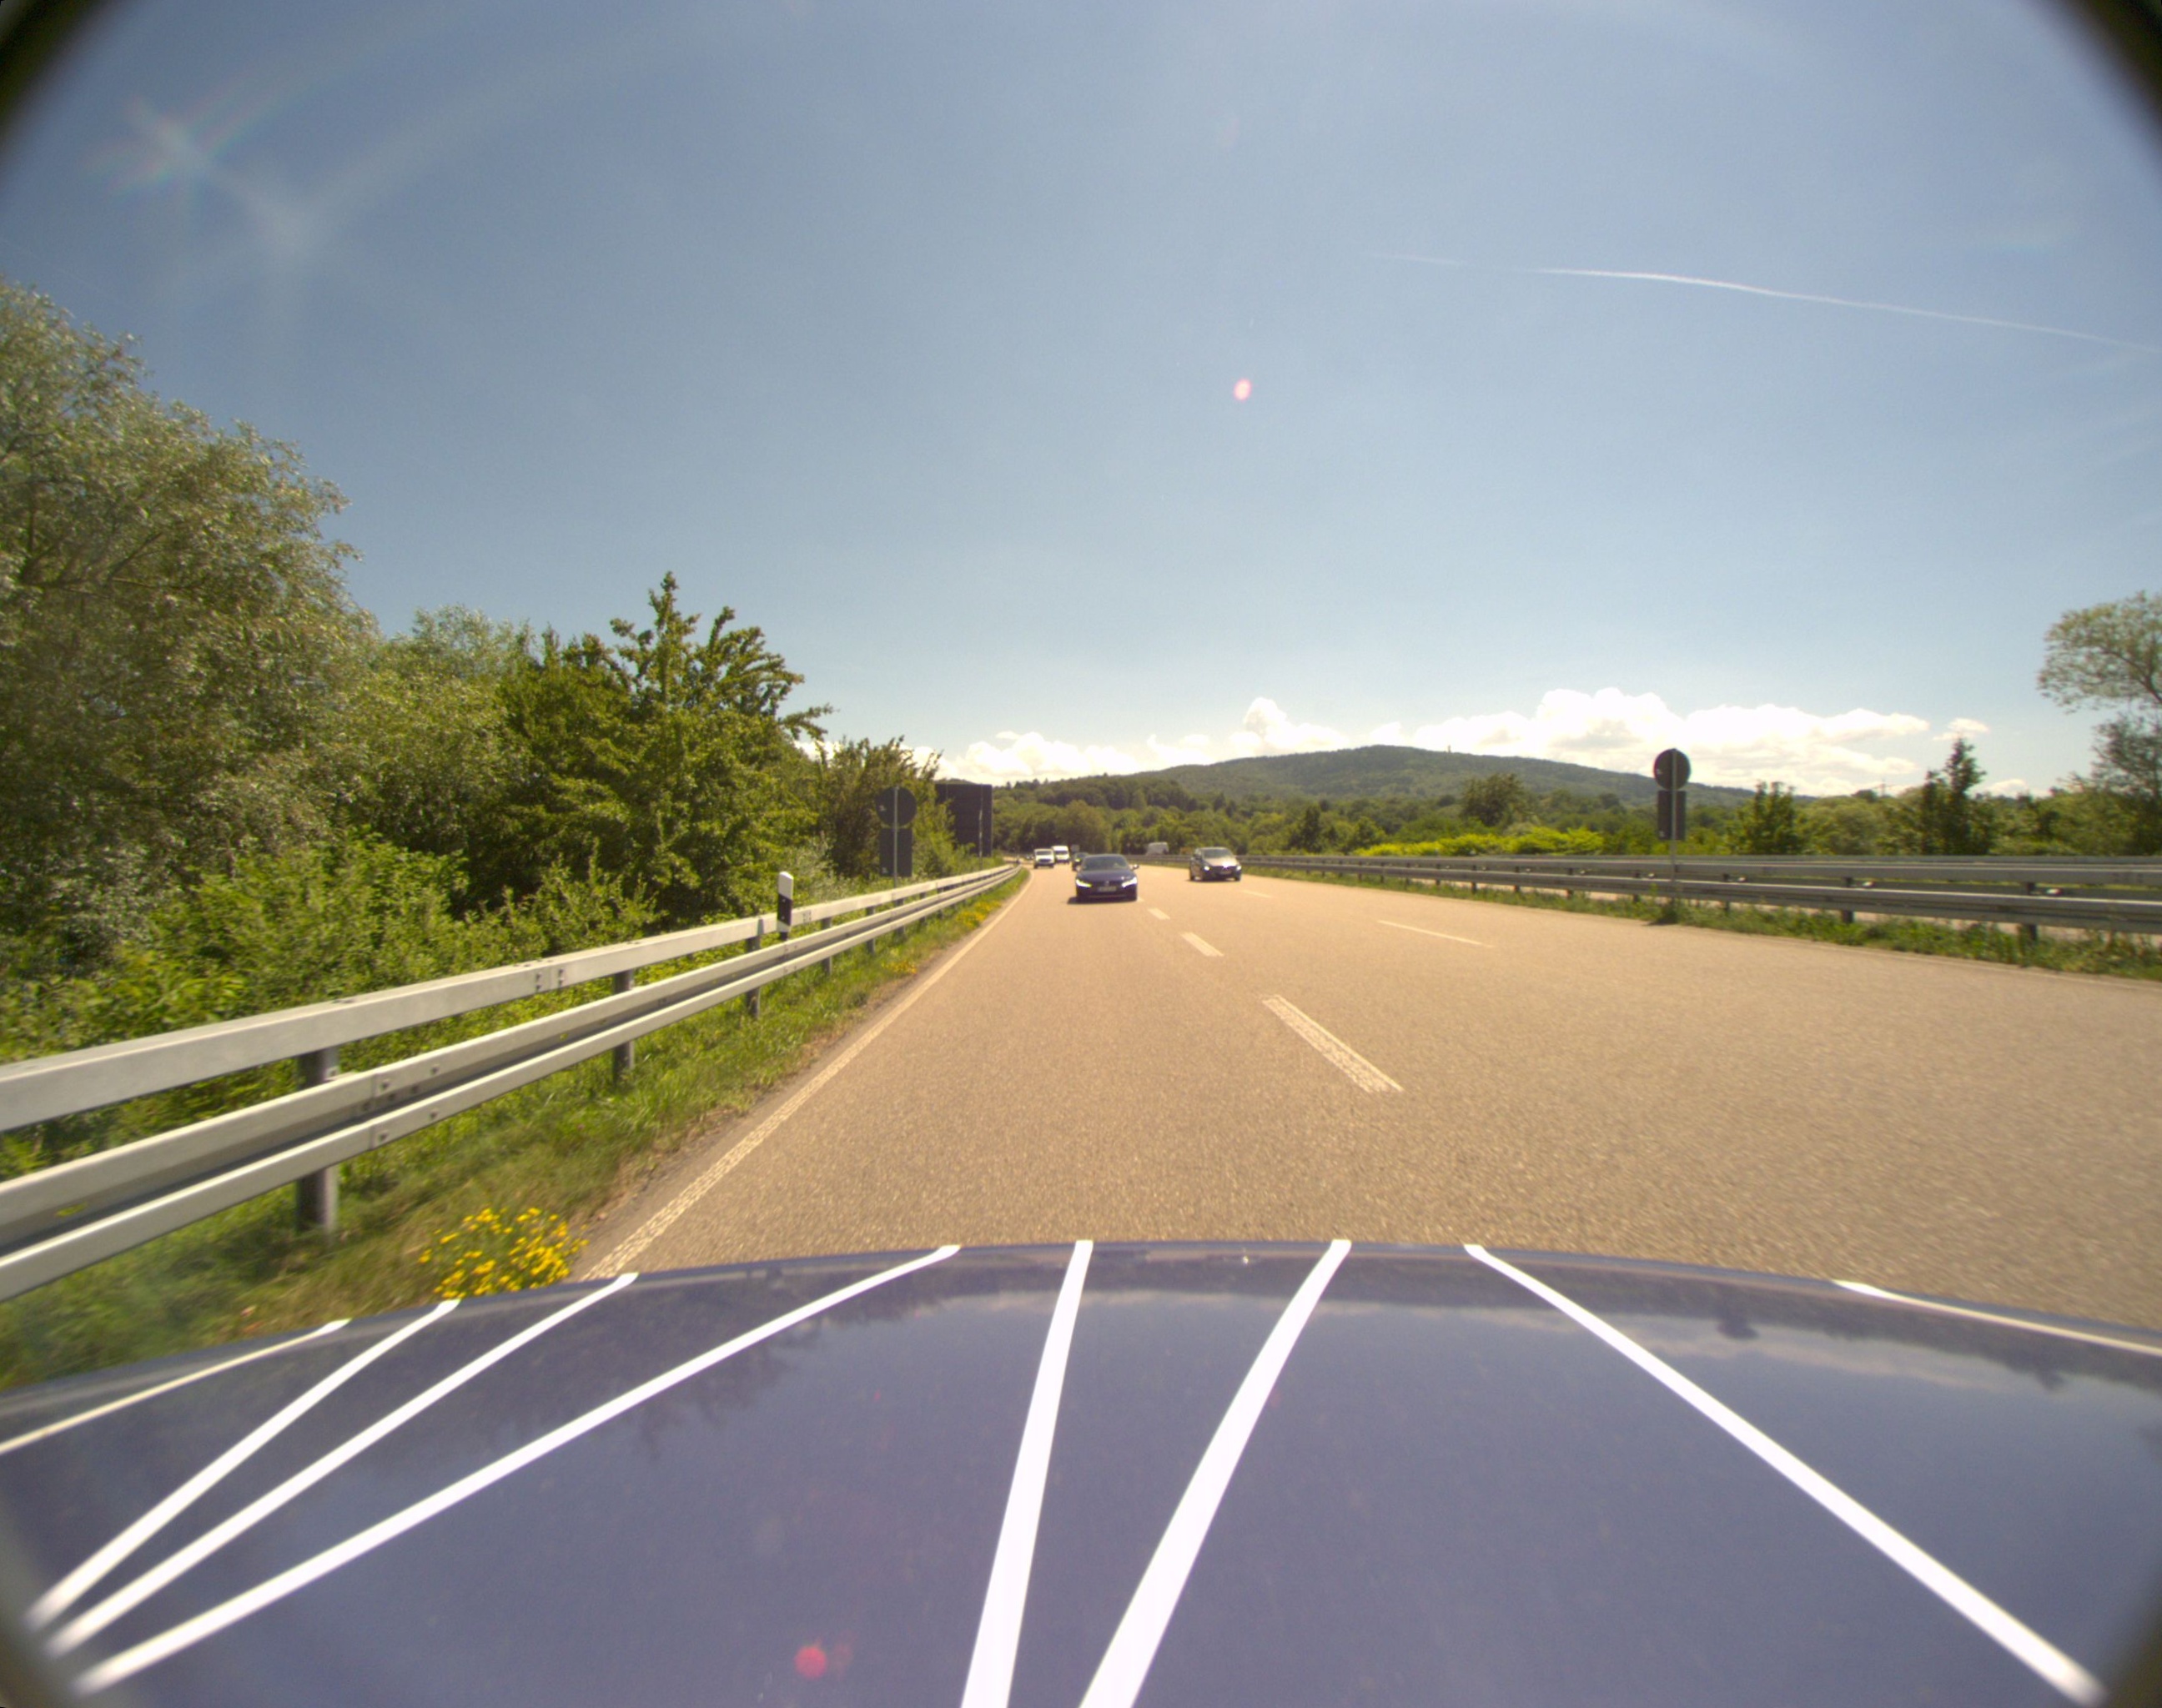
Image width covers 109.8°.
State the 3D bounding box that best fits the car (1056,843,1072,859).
[{"bbox_3d":[-2.279,-0.484,102.476,2.008,1.988,4.577,-2,2,-1],"label":"car"}]

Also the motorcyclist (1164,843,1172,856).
[{"bbox_3d":[10.033,-0.537,87.504,0.793,1.426,0.767,-1,2,-2],"label":"motorcyclist"}]

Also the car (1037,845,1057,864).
[{"bbox_3d":[-3.557,0.017,78.316,1.885,1.724,4.467,-2,2,-4],"label":"car"}]

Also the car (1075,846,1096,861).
[{"bbox_3d":[0.417,-0.046,78.442,1.846,1.400,4.467,-1,1,-3],"label":"car"}]

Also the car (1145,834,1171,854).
[{"bbox_3d":[10.966,-1.464,108.614,2.286,2.758,7.215,-1,2,-6],"label":"car"}]

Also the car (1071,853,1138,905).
[{"bbox_3d":[0.748,0.713,23.916,1.845,1.400,4.470,-2,1,2],"label":"car"}]

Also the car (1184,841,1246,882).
[{"bbox_3d":[6.216,0.297,35.805,1.798,1.658,4.551,-3,2,-3],"label":"car"}]

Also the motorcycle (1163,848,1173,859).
[{"bbox_3d":[10.042,-0.092,87.528,0.793,1.137,2.528,-1,2,-2],"label":"motorcycle"}]

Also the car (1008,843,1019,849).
[{"bbox_3d":[-21.568,-2.466,243.320,2.213,1.882,4.902,-2,2,-21],"label":"car"}]

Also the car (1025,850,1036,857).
[{"bbox_3d":[-10.970,-0.121,166.153,1.877,1.594,3.995,-1,2,-11],"label":"car"}]
